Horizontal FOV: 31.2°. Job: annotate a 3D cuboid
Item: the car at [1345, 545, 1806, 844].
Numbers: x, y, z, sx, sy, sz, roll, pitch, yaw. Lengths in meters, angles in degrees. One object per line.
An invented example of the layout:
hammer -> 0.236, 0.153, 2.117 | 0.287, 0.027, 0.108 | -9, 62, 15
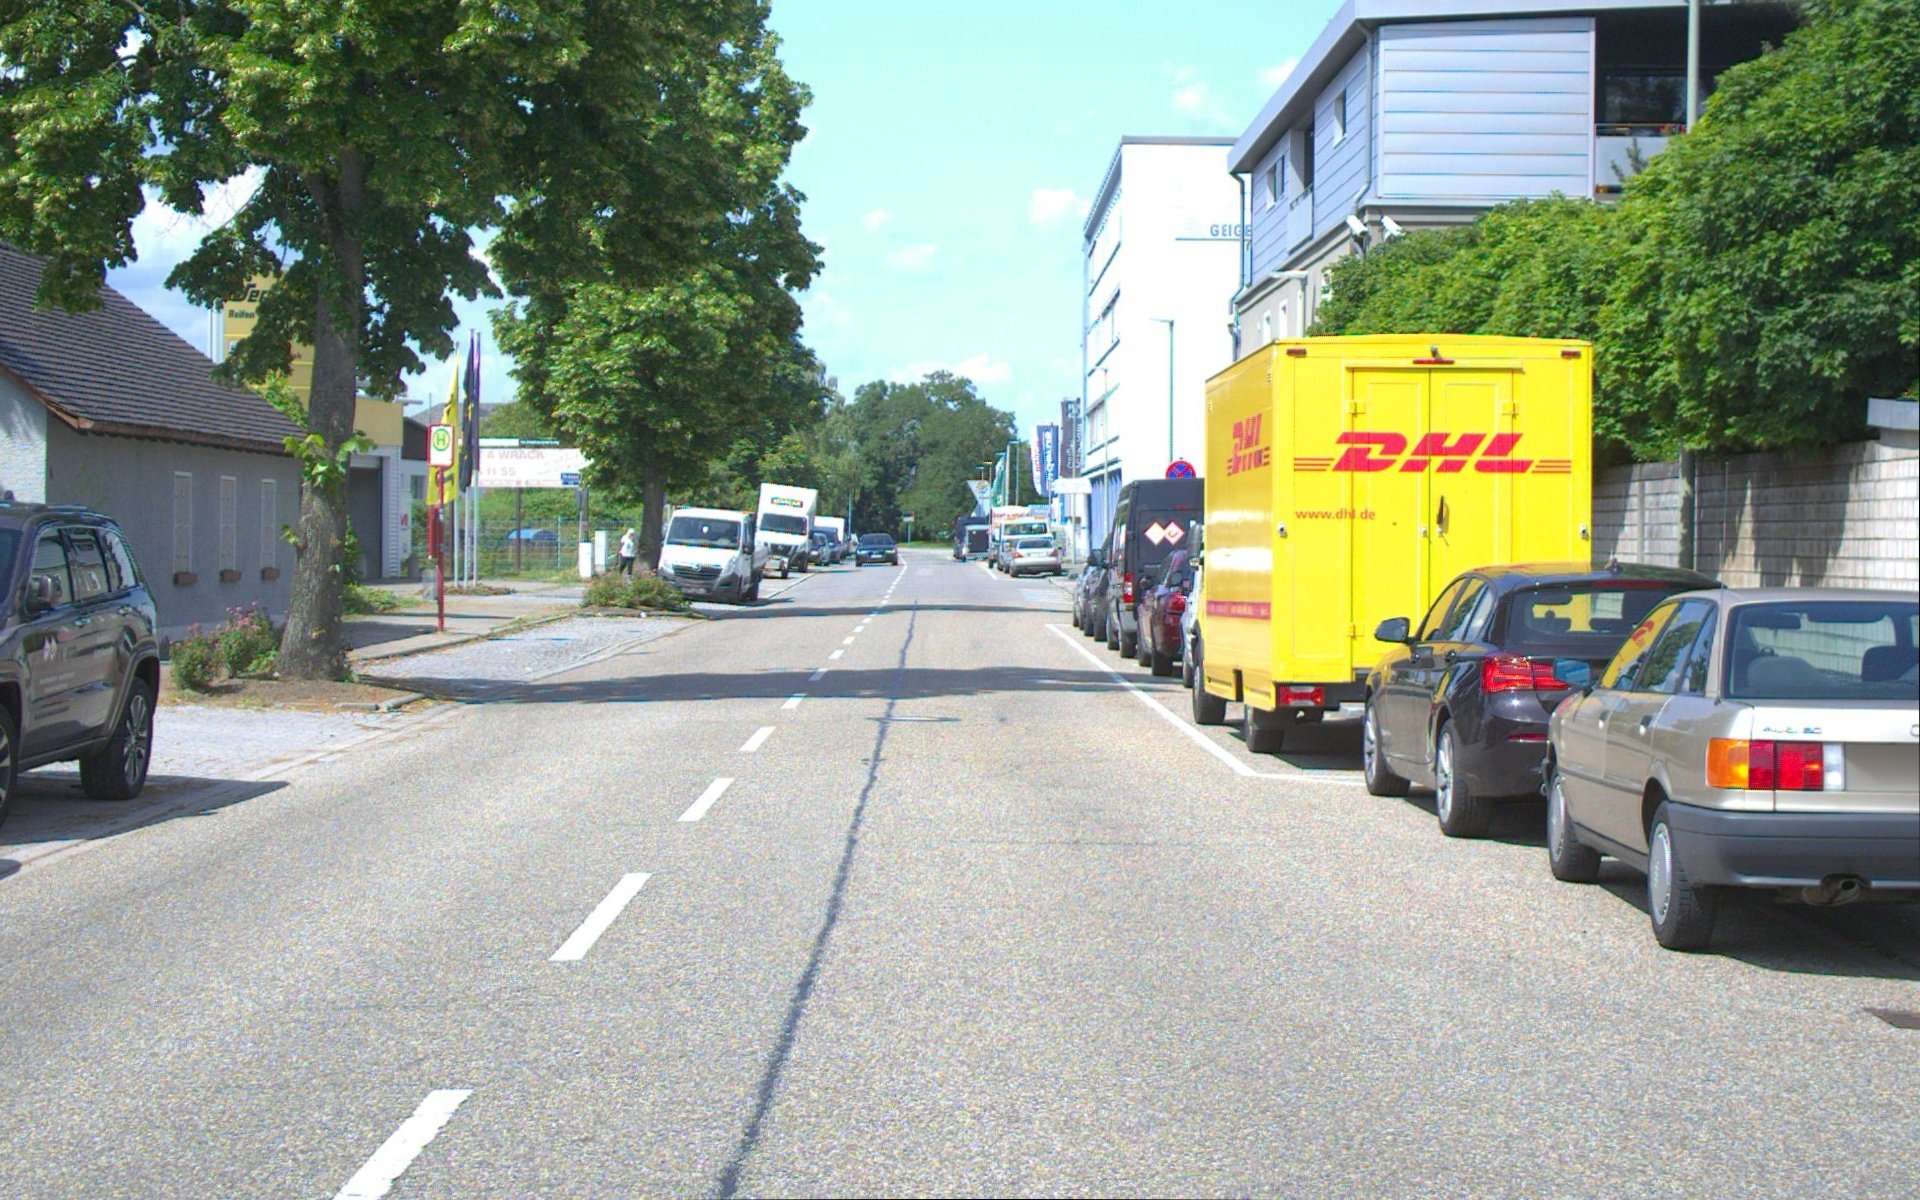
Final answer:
car -> 3.287, 0.436, 19.166 | 1.662, 1.436, 4.284 | 0, 1, -2

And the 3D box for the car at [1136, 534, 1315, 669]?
car -> 3.055, -0.030, 40.366 | 1.681, 1.437, 4.767 | 1, 1, 0

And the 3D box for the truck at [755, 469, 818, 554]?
truck -> -6.549, -3.352, 130.334 | 2.029, 3.143, 6.500 | 0, 2, 0

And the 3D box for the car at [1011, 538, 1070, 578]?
car -> 2.760, -1.461, 118.657 | 1.928, 1.306, 4.000 | 0, 2, 0

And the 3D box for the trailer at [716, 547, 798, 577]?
trailer -> -6.856, -1.305, 116.484 | 2.417, 0.811, 5.537 | 2, 2, 0

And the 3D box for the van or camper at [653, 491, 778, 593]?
van or camper -> -6.047, -1.483, 85.975 | 2.174, 2.405, 7.697 | 1, 2, 3

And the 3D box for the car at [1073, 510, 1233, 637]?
car -> 2.883, -0.448, 52.359 | 1.960, 1.774, 4.955 | 2, 1, -2

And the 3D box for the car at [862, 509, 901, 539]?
car -> -3.488, -3.404, 154.143 | 1.654, 1.320, 4.417 | 0, 2, 0

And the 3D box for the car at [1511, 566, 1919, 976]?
car -> 3.527, 0.602, 14.498 | 1.652, 1.382, 4.423 | 2, 1, 0

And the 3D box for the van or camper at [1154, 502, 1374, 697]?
van or camper -> 3.021, -0.064, 35.160 | 1.759, 1.799, 5.587 | 1, 1, 0

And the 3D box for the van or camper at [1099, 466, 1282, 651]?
van or camper -> 3.041, -0.591, 46.391 | 1.993, 2.283, 5.448 | 2, 1, 0

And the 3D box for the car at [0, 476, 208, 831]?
car -> -5.817, 0.221, 19.516 | 1.919, 1.816, 4.785 | 1, 1, 2

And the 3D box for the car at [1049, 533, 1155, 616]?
car -> 2.424, -0.466, 59.254 | 1.629, 1.348, 3.924 | 0, 1, 0

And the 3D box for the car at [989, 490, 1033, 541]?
car -> 2.107, -3.505, 142.737 | 1.707, 2.082, 4.000 | 0, 2, -1

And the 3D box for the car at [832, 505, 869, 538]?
car -> -5.439, -3.920, 170.944 | 1.713, 1.645, 4.000 | 0, 2, 0

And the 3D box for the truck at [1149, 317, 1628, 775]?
truck -> 3.004, -0.438, 26.112 | 2.474, 2.930, 7.189 | 2, 1, -1

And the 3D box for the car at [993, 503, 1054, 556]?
car -> 2.410, -2.730, 131.993 | 2.216, 2.007, 5.485 | 0, 2, 0
